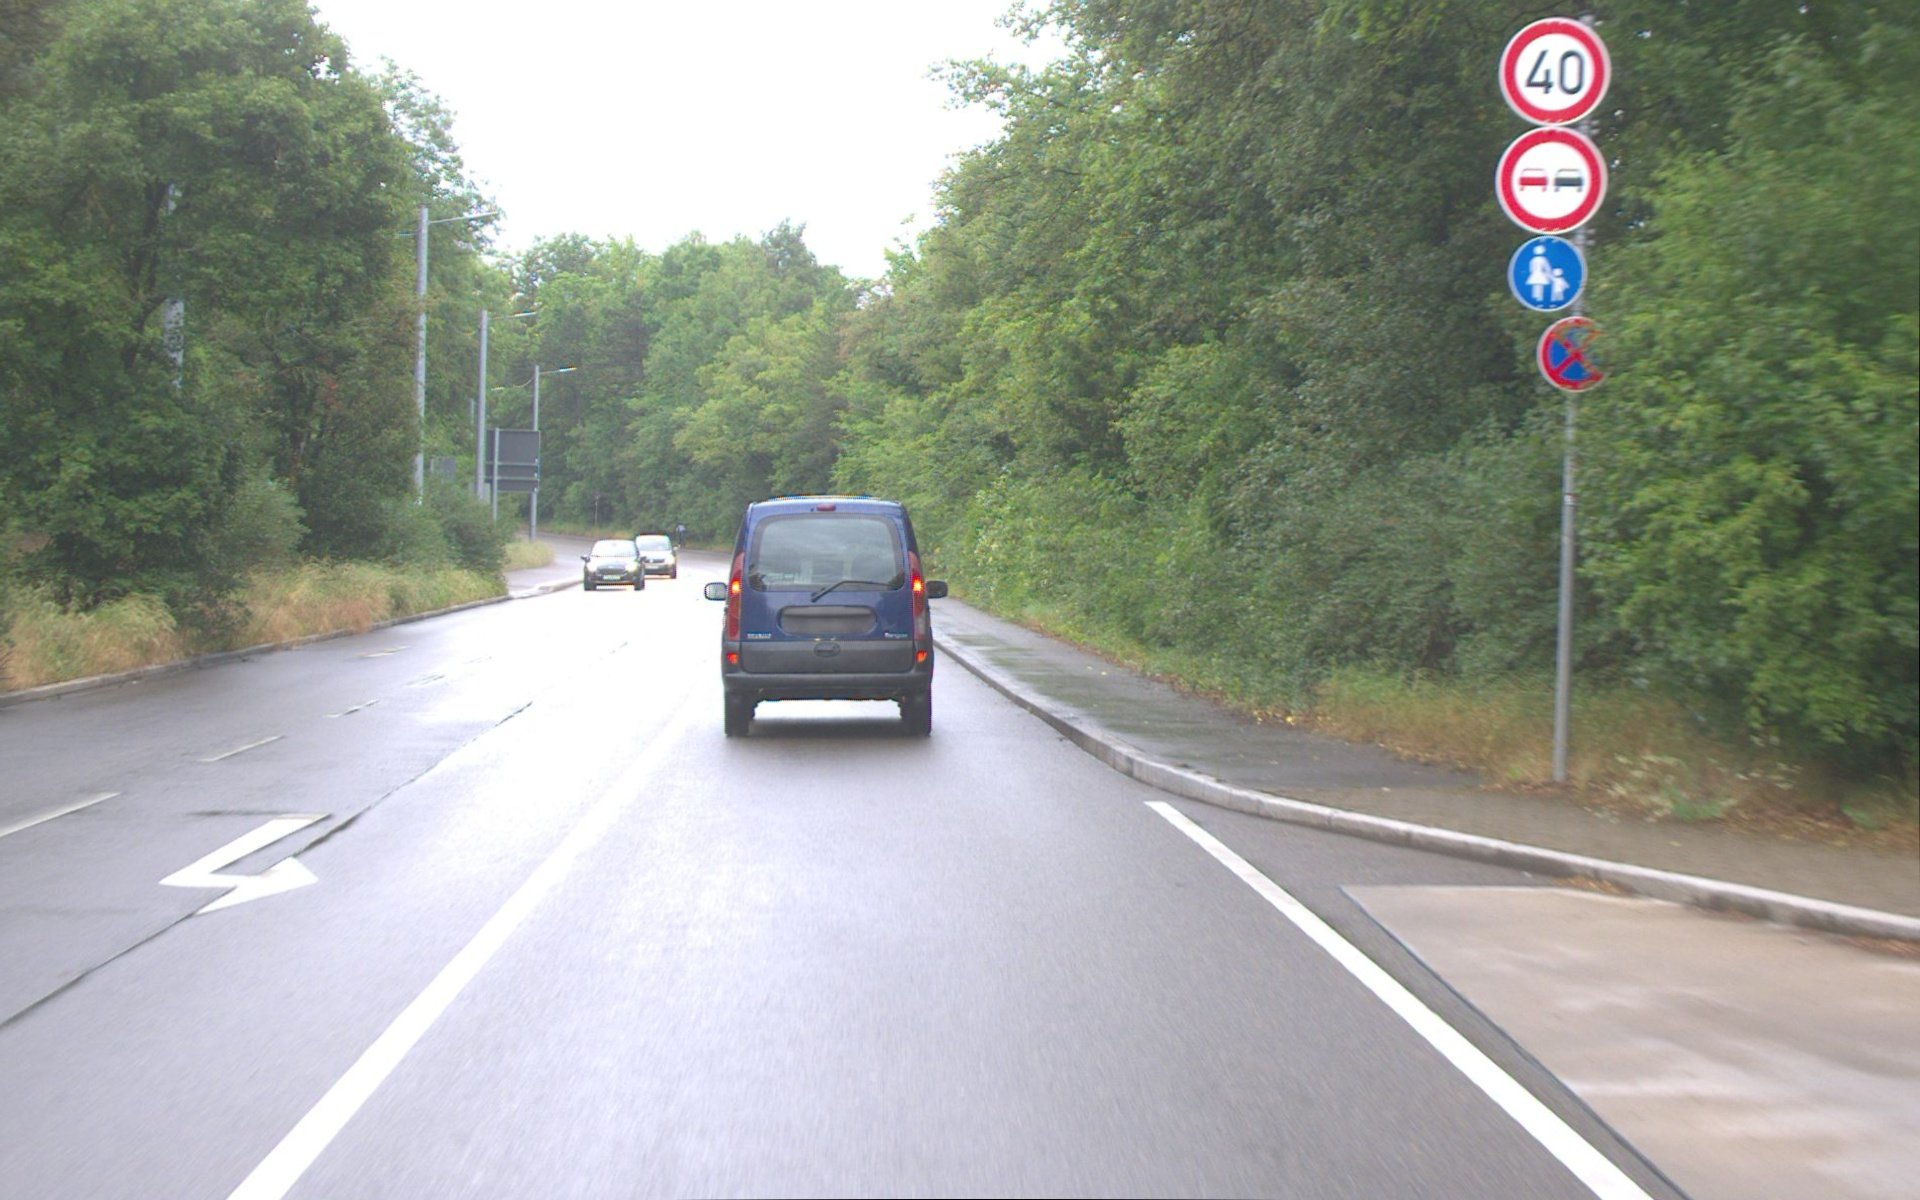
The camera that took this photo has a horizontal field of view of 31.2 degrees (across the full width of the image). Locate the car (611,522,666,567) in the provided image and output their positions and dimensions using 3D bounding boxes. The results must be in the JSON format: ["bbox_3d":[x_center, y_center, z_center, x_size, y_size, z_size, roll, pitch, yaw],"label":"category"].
[{"bbox_3d":[-11.789,-2.042,126.298,1.771,1.605,4.084,1,1,-3],"label":"car"}]

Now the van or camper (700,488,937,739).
[{"bbox_3d":[-1.147,0.050,27.783,1.712,1.819,4.001,-2,2,-2],"label":"van or camper"}]

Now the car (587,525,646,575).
[{"bbox_3d":[-10.234,-1.507,102.589,1.598,1.436,3.991,0,1,-3],"label":"car"}]
